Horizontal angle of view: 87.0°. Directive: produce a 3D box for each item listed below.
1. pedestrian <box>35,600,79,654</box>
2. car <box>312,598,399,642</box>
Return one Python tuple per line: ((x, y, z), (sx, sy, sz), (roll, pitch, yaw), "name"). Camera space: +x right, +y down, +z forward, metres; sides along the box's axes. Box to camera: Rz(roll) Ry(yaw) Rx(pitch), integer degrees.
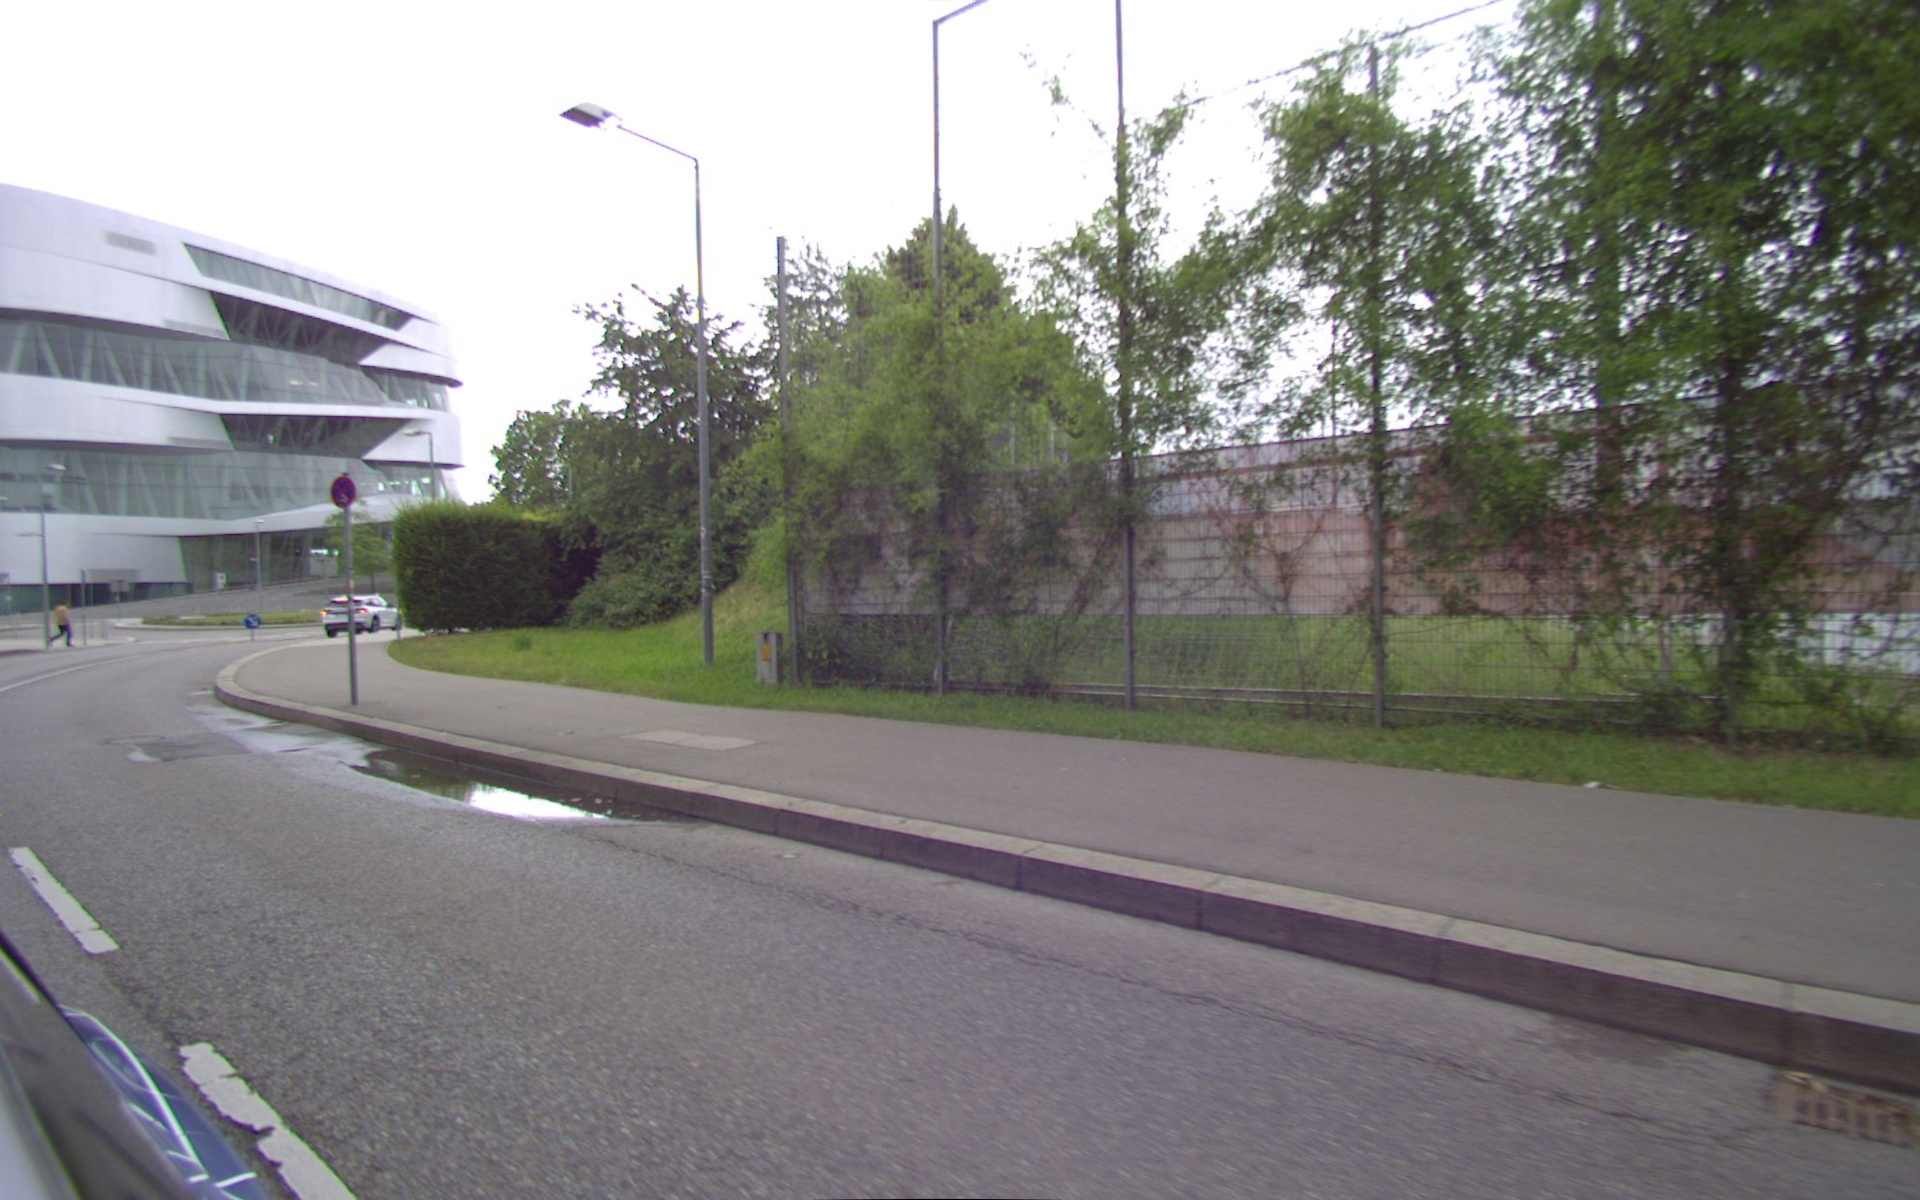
((-34.541, 1.023, 38.704), (0.781, 2.029, 1.029), (-3, -1, 29), "pedestrian")
((-25.404, 0.835, 42.683), (1.839, 1.696, 4.416), (-2, -1, -13), "car")
